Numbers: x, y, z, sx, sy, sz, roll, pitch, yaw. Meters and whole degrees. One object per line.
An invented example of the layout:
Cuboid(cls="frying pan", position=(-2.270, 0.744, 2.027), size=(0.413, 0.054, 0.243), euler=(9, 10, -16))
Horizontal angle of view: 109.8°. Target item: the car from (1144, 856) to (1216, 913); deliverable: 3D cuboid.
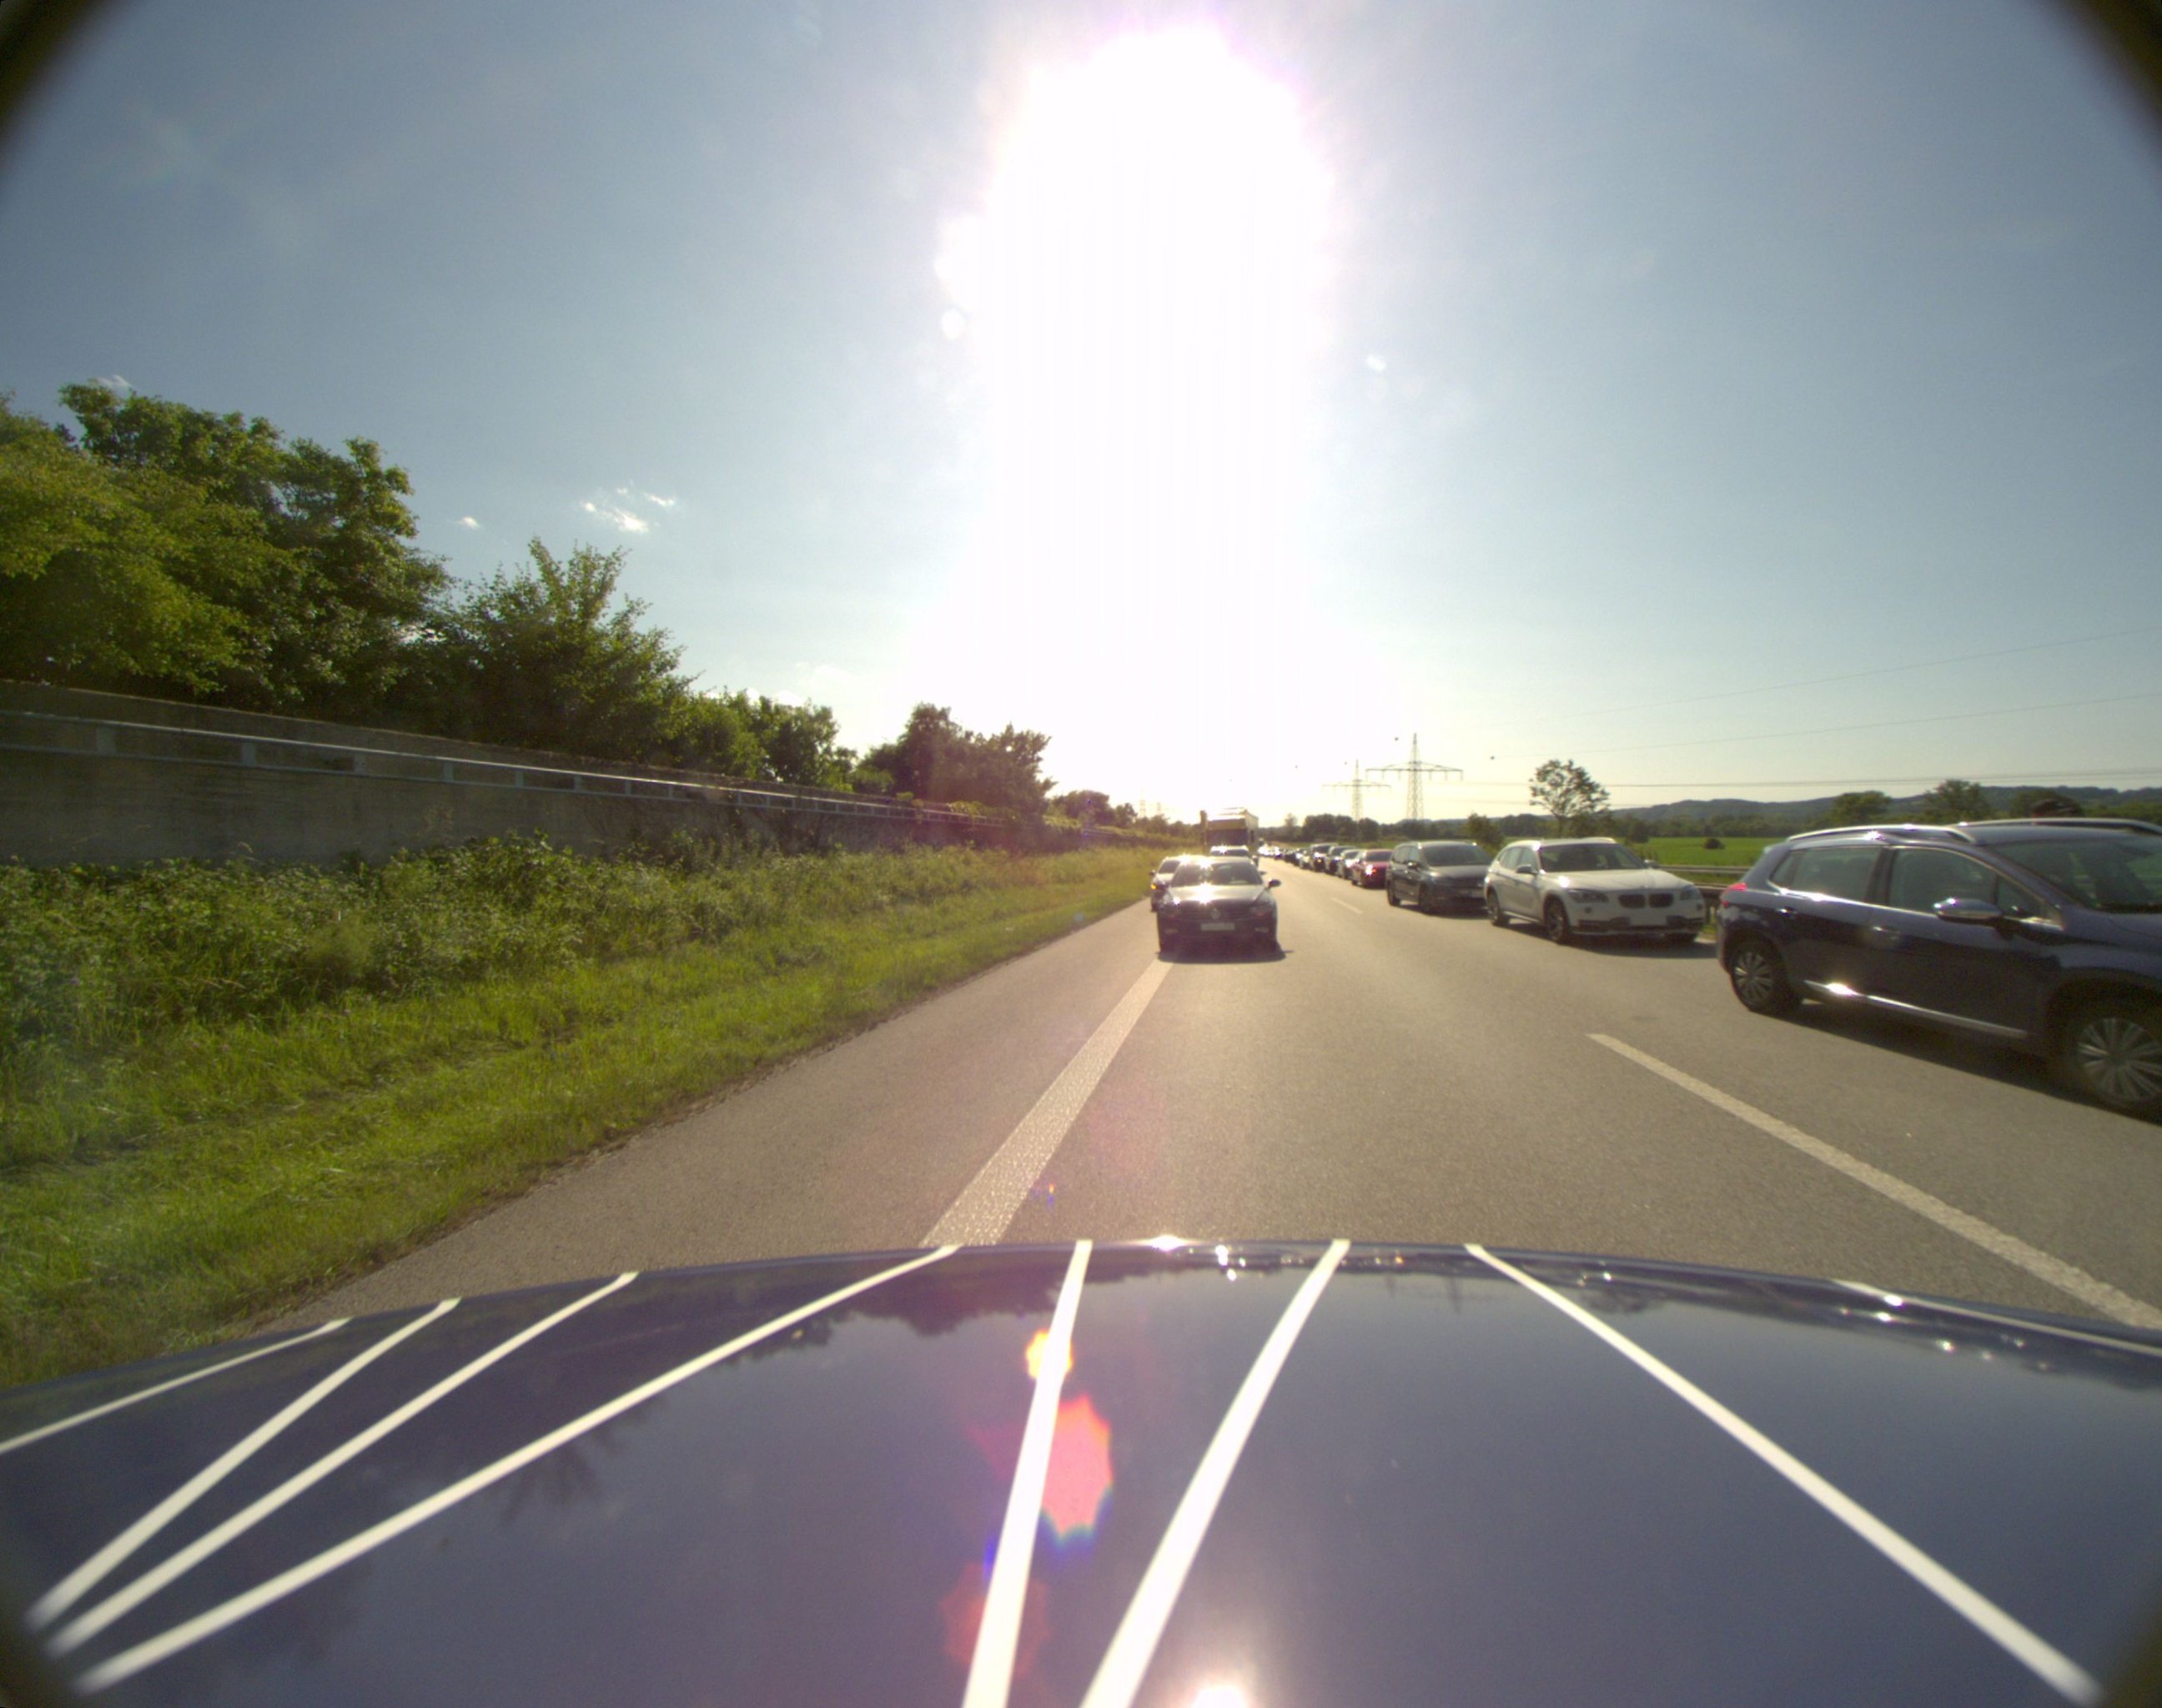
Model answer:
Cuboid(cls="car", position=(3.015, 0.840, 22.422), size=(1.715, 1.417, 4.329), euler=(-2, 0, 12))

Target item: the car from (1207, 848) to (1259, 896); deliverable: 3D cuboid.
Cuboid(cls="car", position=(5.710, 0.625, 28.470), size=(1.715, 1.614, 4.329), euler=(-2, 0, 12))

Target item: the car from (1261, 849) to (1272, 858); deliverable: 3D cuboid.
Cuboid(cls="car", position=(31.885, -0.109, 130.617), size=(1.818, 1.450, 4.121), euler=(-1, 0, 13))

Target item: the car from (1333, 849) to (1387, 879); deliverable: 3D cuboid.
Cuboid(cls="car", position=(13.726, 0.457, 37.629), size=(1.893, 1.390, 4.003), euler=(-1, 0, 11))

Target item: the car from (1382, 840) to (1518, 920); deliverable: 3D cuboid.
Cuboid(cls="car", position=(8.473, 0.525, 17.844), size=(1.818, 1.606, 4.120), euler=(-2, 0, 11))

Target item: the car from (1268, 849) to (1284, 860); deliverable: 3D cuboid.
Cuboid(cls="car", position=(26.969, 0.019, 105.042), size=(1.818, 1.450, 4.121), euler=(-3, 0, 12))

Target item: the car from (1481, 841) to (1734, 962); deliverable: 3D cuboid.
Cuboid(cls="car", position=(7.978, 0.617, 12.052), size=(1.830, 1.564, 4.167), euler=(-1, 0, 12))

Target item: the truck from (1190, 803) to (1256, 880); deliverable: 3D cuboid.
Cuboid(cls="truck", position=(8.559, -0.711, 45.084), size=(3.330, 4.089, 6.976), euler=(-2, 1, 13))

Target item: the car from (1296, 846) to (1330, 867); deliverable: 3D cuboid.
Cuboid(cls="car", position=(17.490, 0.153, 57.424), size=(1.997, 1.522, 4.003), euler=(-1, 0, 11))

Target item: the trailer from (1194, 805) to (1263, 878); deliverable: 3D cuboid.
Cuboid(cls="trailer", position=(10.175, -0.832, 50.982), size=(3.384, 4.089, 13.966), euler=(-2, 1, 15))

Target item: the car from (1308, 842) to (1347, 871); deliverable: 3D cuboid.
Cuboid(cls="car", position=(16.268, 0.149, 50.346), size=(1.900, 1.777, 4.203), euler=(-1, 0, 11))

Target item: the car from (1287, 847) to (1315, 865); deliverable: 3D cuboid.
Cuboid(cls="car", position=(19.225, 0.158, 66.564), size=(1.997, 1.522, 4.003), euler=(-1, 0, 11))

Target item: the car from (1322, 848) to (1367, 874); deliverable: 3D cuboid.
Cuboid(cls="car", position=(15.049, 0.370, 43.580), size=(1.892, 1.447, 4.003), euler=(-1, 0, 12))

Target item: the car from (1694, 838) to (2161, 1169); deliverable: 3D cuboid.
Cuboid(cls="car", position=(6.192, 0.698, 4.888), size=(1.691, 1.526, 3.951), euler=(-3, 0, 8))

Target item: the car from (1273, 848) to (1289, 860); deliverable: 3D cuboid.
Cuboid(cls="car", position=(25.450, 0.019, 96.744), size=(1.818, 1.450, 4.121), euler=(-1, 0, 13))

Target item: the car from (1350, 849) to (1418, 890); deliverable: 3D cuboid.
Cuboid(cls="car", position=(11.545, 0.537, 29.185), size=(1.818, 1.450, 4.121), euler=(-1, 0, 13))

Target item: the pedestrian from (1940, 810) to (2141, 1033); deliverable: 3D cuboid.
Cuboid(cls="pedestrian", position=(7.963, 0.526, 6.358), size=(0.672, 1.740, 0.815), euler=(-1, 1, 12))

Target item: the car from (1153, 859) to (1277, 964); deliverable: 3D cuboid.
Cuboid(cls="car", position=(2.368, 0.856, 13.095), size=(1.715, 1.405, 4.329), euler=(-2, 0, 12))
